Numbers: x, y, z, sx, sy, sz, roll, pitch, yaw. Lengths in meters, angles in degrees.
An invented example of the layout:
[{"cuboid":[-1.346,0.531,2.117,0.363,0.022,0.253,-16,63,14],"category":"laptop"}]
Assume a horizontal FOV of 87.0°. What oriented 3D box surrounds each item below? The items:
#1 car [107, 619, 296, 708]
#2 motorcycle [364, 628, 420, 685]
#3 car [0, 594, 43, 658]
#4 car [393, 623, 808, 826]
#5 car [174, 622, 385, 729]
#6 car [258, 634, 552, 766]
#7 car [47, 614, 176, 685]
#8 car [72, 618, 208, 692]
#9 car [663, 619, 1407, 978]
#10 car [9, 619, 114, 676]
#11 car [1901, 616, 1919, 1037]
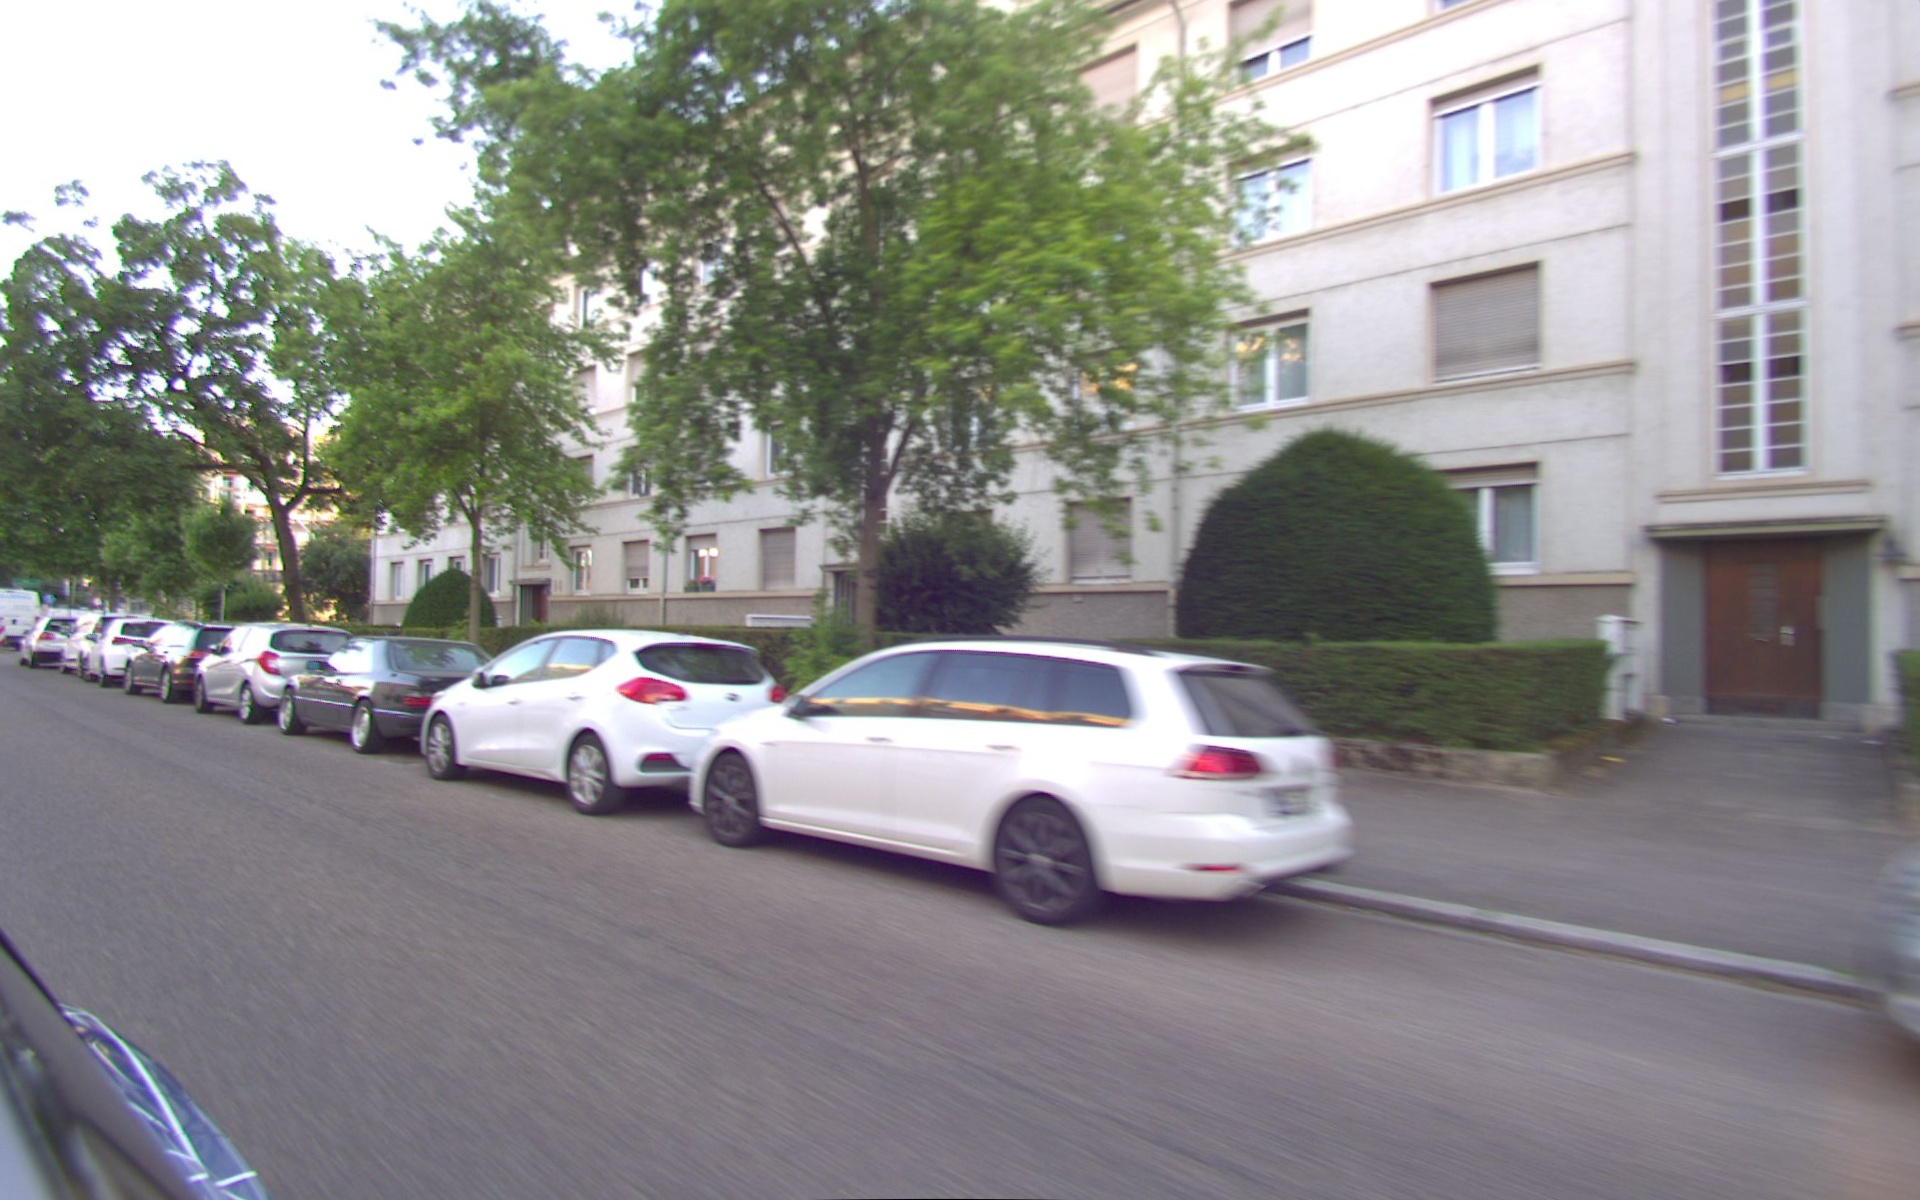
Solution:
[{"cuboid":[-14.480,1.168,19.225,4.674,1.491,1.735,-1,-6,40],"category":"car"},{"cuboid":[-13.801,1.346,24.576,1.828,1.335,0.580,-1,-3,42],"category":"motorcycle"},{"cuboid":[-40.446,1.067,42.397,6.100,2.480,2.156,-1,-6,41],"category":"car"},{"cuboid":[-3.472,1.013,9.408,4.141,1.471,1.675,-1,-6,40],"category":"car"},{"cuboid":[-10.787,1.153,15.974,3.701,1.471,1.658,-1,-5,39],"category":"car"},{"cuboid":[-7.116,1.169,12.767,4.577,1.342,1.657,-1,-6,41],"category":"car"},{"cuboid":[-21.824,1.240,25.992,4.104,1.644,1.734,-1,-6,40],"category":"car"},{"cuboid":[-18.563,1.231,22.856,3.944,1.491,1.733,-1,-6,43],"category":"car"},{"cuboid":[0.176,0.913,6.300,4.481,1.471,1.674,-1,-6,41],"category":"car"},{"cuboid":[-26.125,1.357,29.383,4.223,1.483,1.733,-1,-6,43],"category":"car"},{"cuboid":[4.797,0.804,2.297,3.797,1.516,1.573,-1,-6,41],"category":"car"}]
